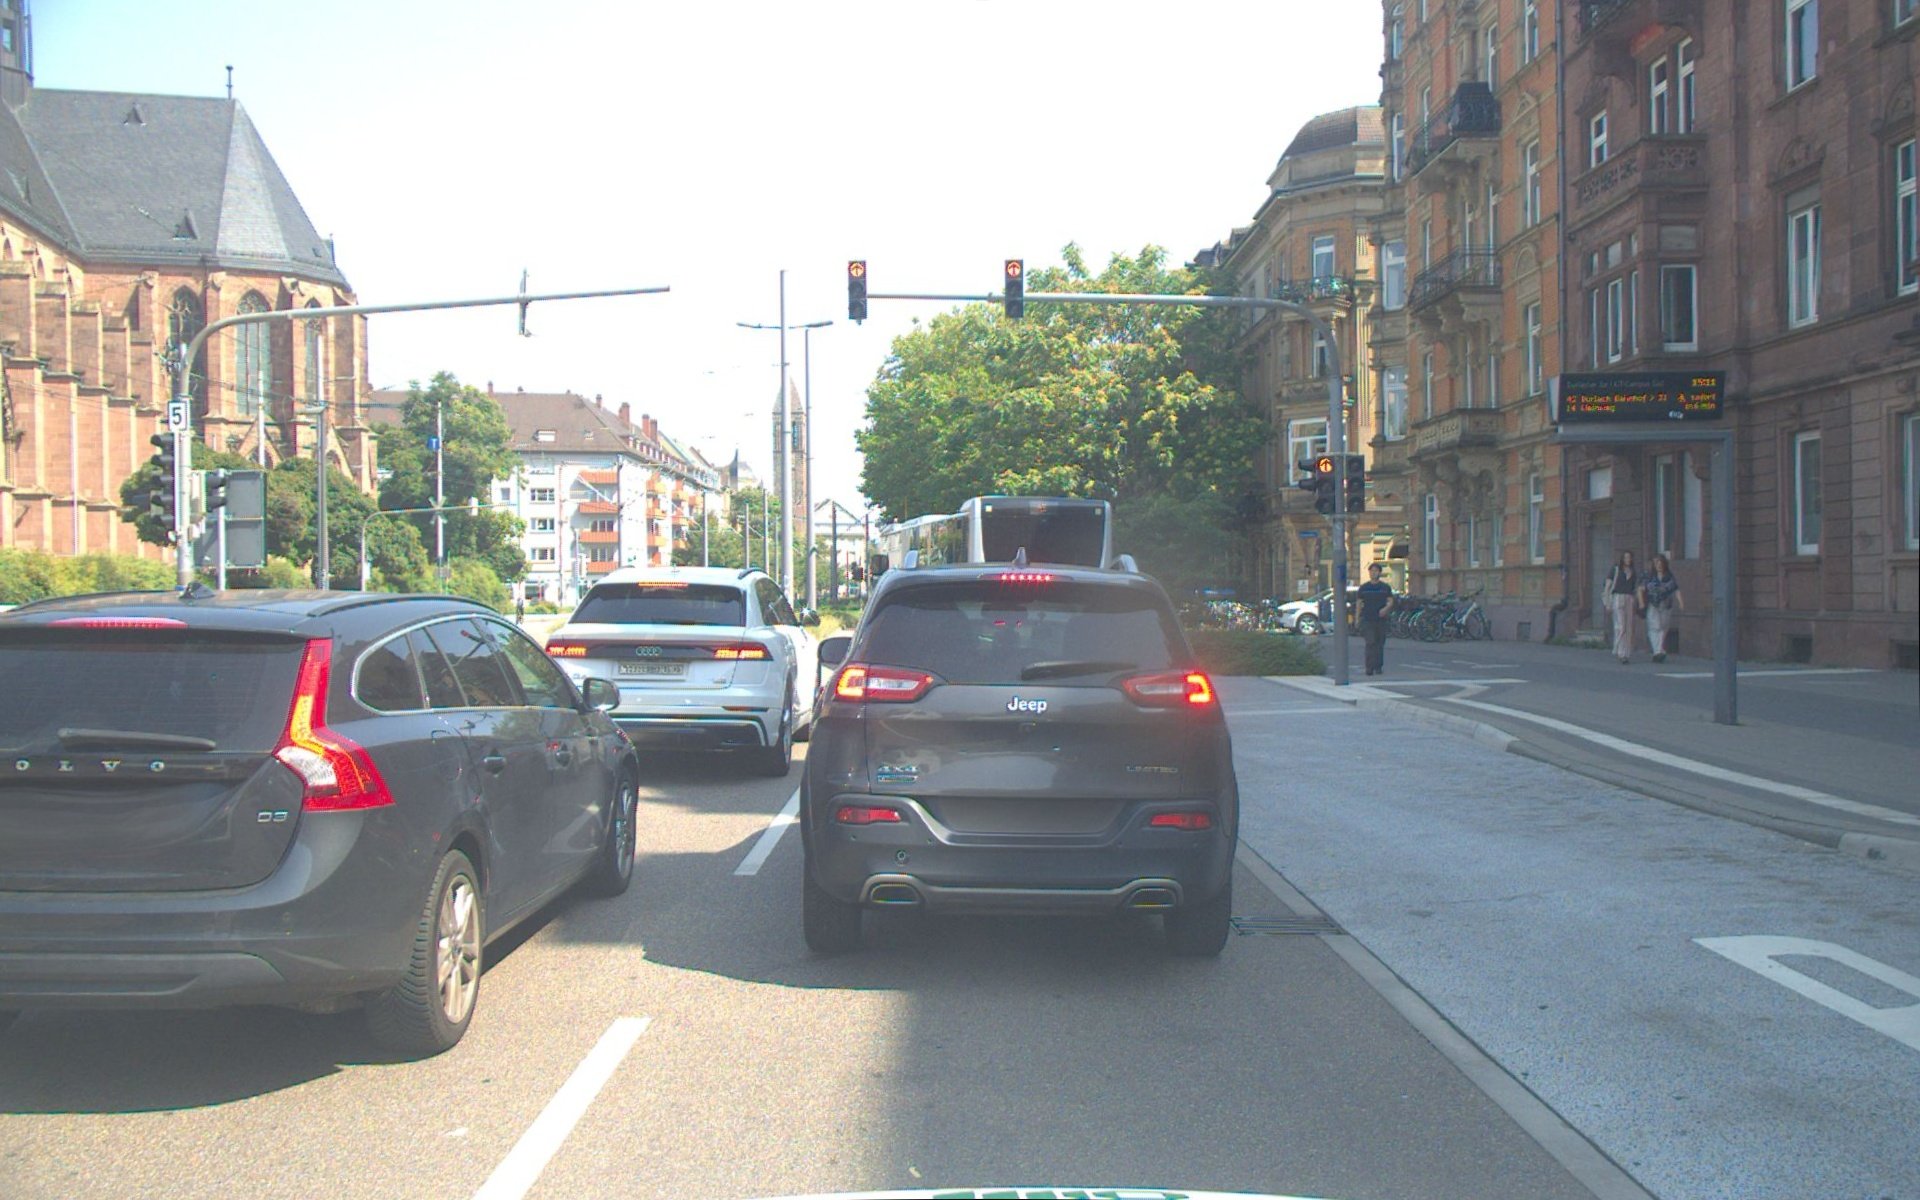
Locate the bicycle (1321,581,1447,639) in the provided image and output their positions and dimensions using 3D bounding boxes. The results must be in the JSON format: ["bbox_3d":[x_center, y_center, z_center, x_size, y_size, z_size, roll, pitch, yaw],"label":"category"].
[{"bbox_3d":[10.720,0.237,41.869,2.943,1.397,0.947,-1,0,-2],"label":"bicycle"}]

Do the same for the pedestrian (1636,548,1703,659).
[{"bbox_3d":[11.749,0.059,27.417,0.700,1.809,0.870,-1,0,-2],"label":"pedestrian"}]

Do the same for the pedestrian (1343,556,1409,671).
[{"bbox_3d":[6.604,0.219,26.311,0.879,1.771,0.769,-2,0,8],"label":"pedestrian"}]

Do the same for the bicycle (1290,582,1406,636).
[{"bbox_3d":[10.608,0.237,45.290,2.943,1.397,0.947,-1,0,-2],"label":"bicycle"}]

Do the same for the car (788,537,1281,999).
[{"bbox_3d":[0.290,0.603,8.235,1.795,1.680,4.308,1,0,0],"label":"car"}]

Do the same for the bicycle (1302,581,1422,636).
[{"bbox_3d":[10.664,0.217,43.974,2.943,1.397,0.947,-1,0,-2],"label":"bicycle"}]

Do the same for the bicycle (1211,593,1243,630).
[{"bbox_3d":[9.456,0.388,58.587,0.717,1.275,3.014,-1,0,2],"label":"bicycle"}]

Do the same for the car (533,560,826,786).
[{"bbox_3d":[-2.263,0.524,14.475,1.863,1.680,4.308,0,1,-1],"label":"car"}]

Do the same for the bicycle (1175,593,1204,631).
[{"bbox_3d":[8.123,0.412,58.593,0.636,1.275,3.014,-1,0,1],"label":"bicycle"}]

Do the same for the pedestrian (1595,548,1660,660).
[{"bbox_3d":[11.035,0.064,27.371,0.700,1.807,0.847,-1,0,-2],"label":"pedestrian"}]

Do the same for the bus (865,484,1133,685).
[{"bbox_3d":[0.321,-0.226,33.058,2.695,3.161,11.921,-3,0,-11],"label":"bus"}]

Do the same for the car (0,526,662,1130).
[{"bbox_3d":[-2.432,0.607,6.663,1.712,1.642,4.308,1,0,-1],"label":"car"}]

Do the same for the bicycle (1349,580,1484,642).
[{"bbox_3d":[10.774,0.260,39.066,2.933,1.395,0.871,-1,0,-2],"label":"bicycle"}]

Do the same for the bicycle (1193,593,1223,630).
[{"bbox_3d":[8.771,0.398,58.578,0.636,1.275,3.014,-1,0,1],"label":"bicycle"}]

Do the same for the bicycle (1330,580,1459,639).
[{"bbox_3d":[10.733,0.233,40.926,2.933,1.395,0.871,-1,0,-2],"label":"bicycle"}]

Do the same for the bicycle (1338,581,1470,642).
[{"bbox_3d":[10.723,0.273,39.978,2.933,1.395,0.871,-1,0,-2],"label":"bicycle"}]

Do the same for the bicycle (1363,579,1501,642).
[{"bbox_3d":[10.878,0.236,38.162,2.933,1.395,0.871,-1,0,-2],"label":"bicycle"}]

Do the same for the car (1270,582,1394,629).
[{"bbox_3d":[12.942,0.184,57.672,3.858,1.547,1.680,-1,0,-8],"label":"car"}]

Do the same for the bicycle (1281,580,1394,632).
[{"bbox_3d":[10.553,0.167,46.331,2.943,1.397,0.947,-1,0,-2],"label":"bicycle"}]

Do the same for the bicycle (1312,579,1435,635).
[{"bbox_3d":[10.715,0.171,42.964,2.943,1.397,0.947,-1,0,-2],"label":"bicycle"}]

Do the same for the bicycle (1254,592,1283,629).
[{"bbox_3d":[11.011,0.359,59.059,0.644,1.271,2.413,-1,0,2],"label":"bicycle"}]

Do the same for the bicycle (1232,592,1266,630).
[{"bbox_3d":[10.229,0.375,58.614,0.747,1.275,3.014,-1,0,2],"label":"bicycle"}]
